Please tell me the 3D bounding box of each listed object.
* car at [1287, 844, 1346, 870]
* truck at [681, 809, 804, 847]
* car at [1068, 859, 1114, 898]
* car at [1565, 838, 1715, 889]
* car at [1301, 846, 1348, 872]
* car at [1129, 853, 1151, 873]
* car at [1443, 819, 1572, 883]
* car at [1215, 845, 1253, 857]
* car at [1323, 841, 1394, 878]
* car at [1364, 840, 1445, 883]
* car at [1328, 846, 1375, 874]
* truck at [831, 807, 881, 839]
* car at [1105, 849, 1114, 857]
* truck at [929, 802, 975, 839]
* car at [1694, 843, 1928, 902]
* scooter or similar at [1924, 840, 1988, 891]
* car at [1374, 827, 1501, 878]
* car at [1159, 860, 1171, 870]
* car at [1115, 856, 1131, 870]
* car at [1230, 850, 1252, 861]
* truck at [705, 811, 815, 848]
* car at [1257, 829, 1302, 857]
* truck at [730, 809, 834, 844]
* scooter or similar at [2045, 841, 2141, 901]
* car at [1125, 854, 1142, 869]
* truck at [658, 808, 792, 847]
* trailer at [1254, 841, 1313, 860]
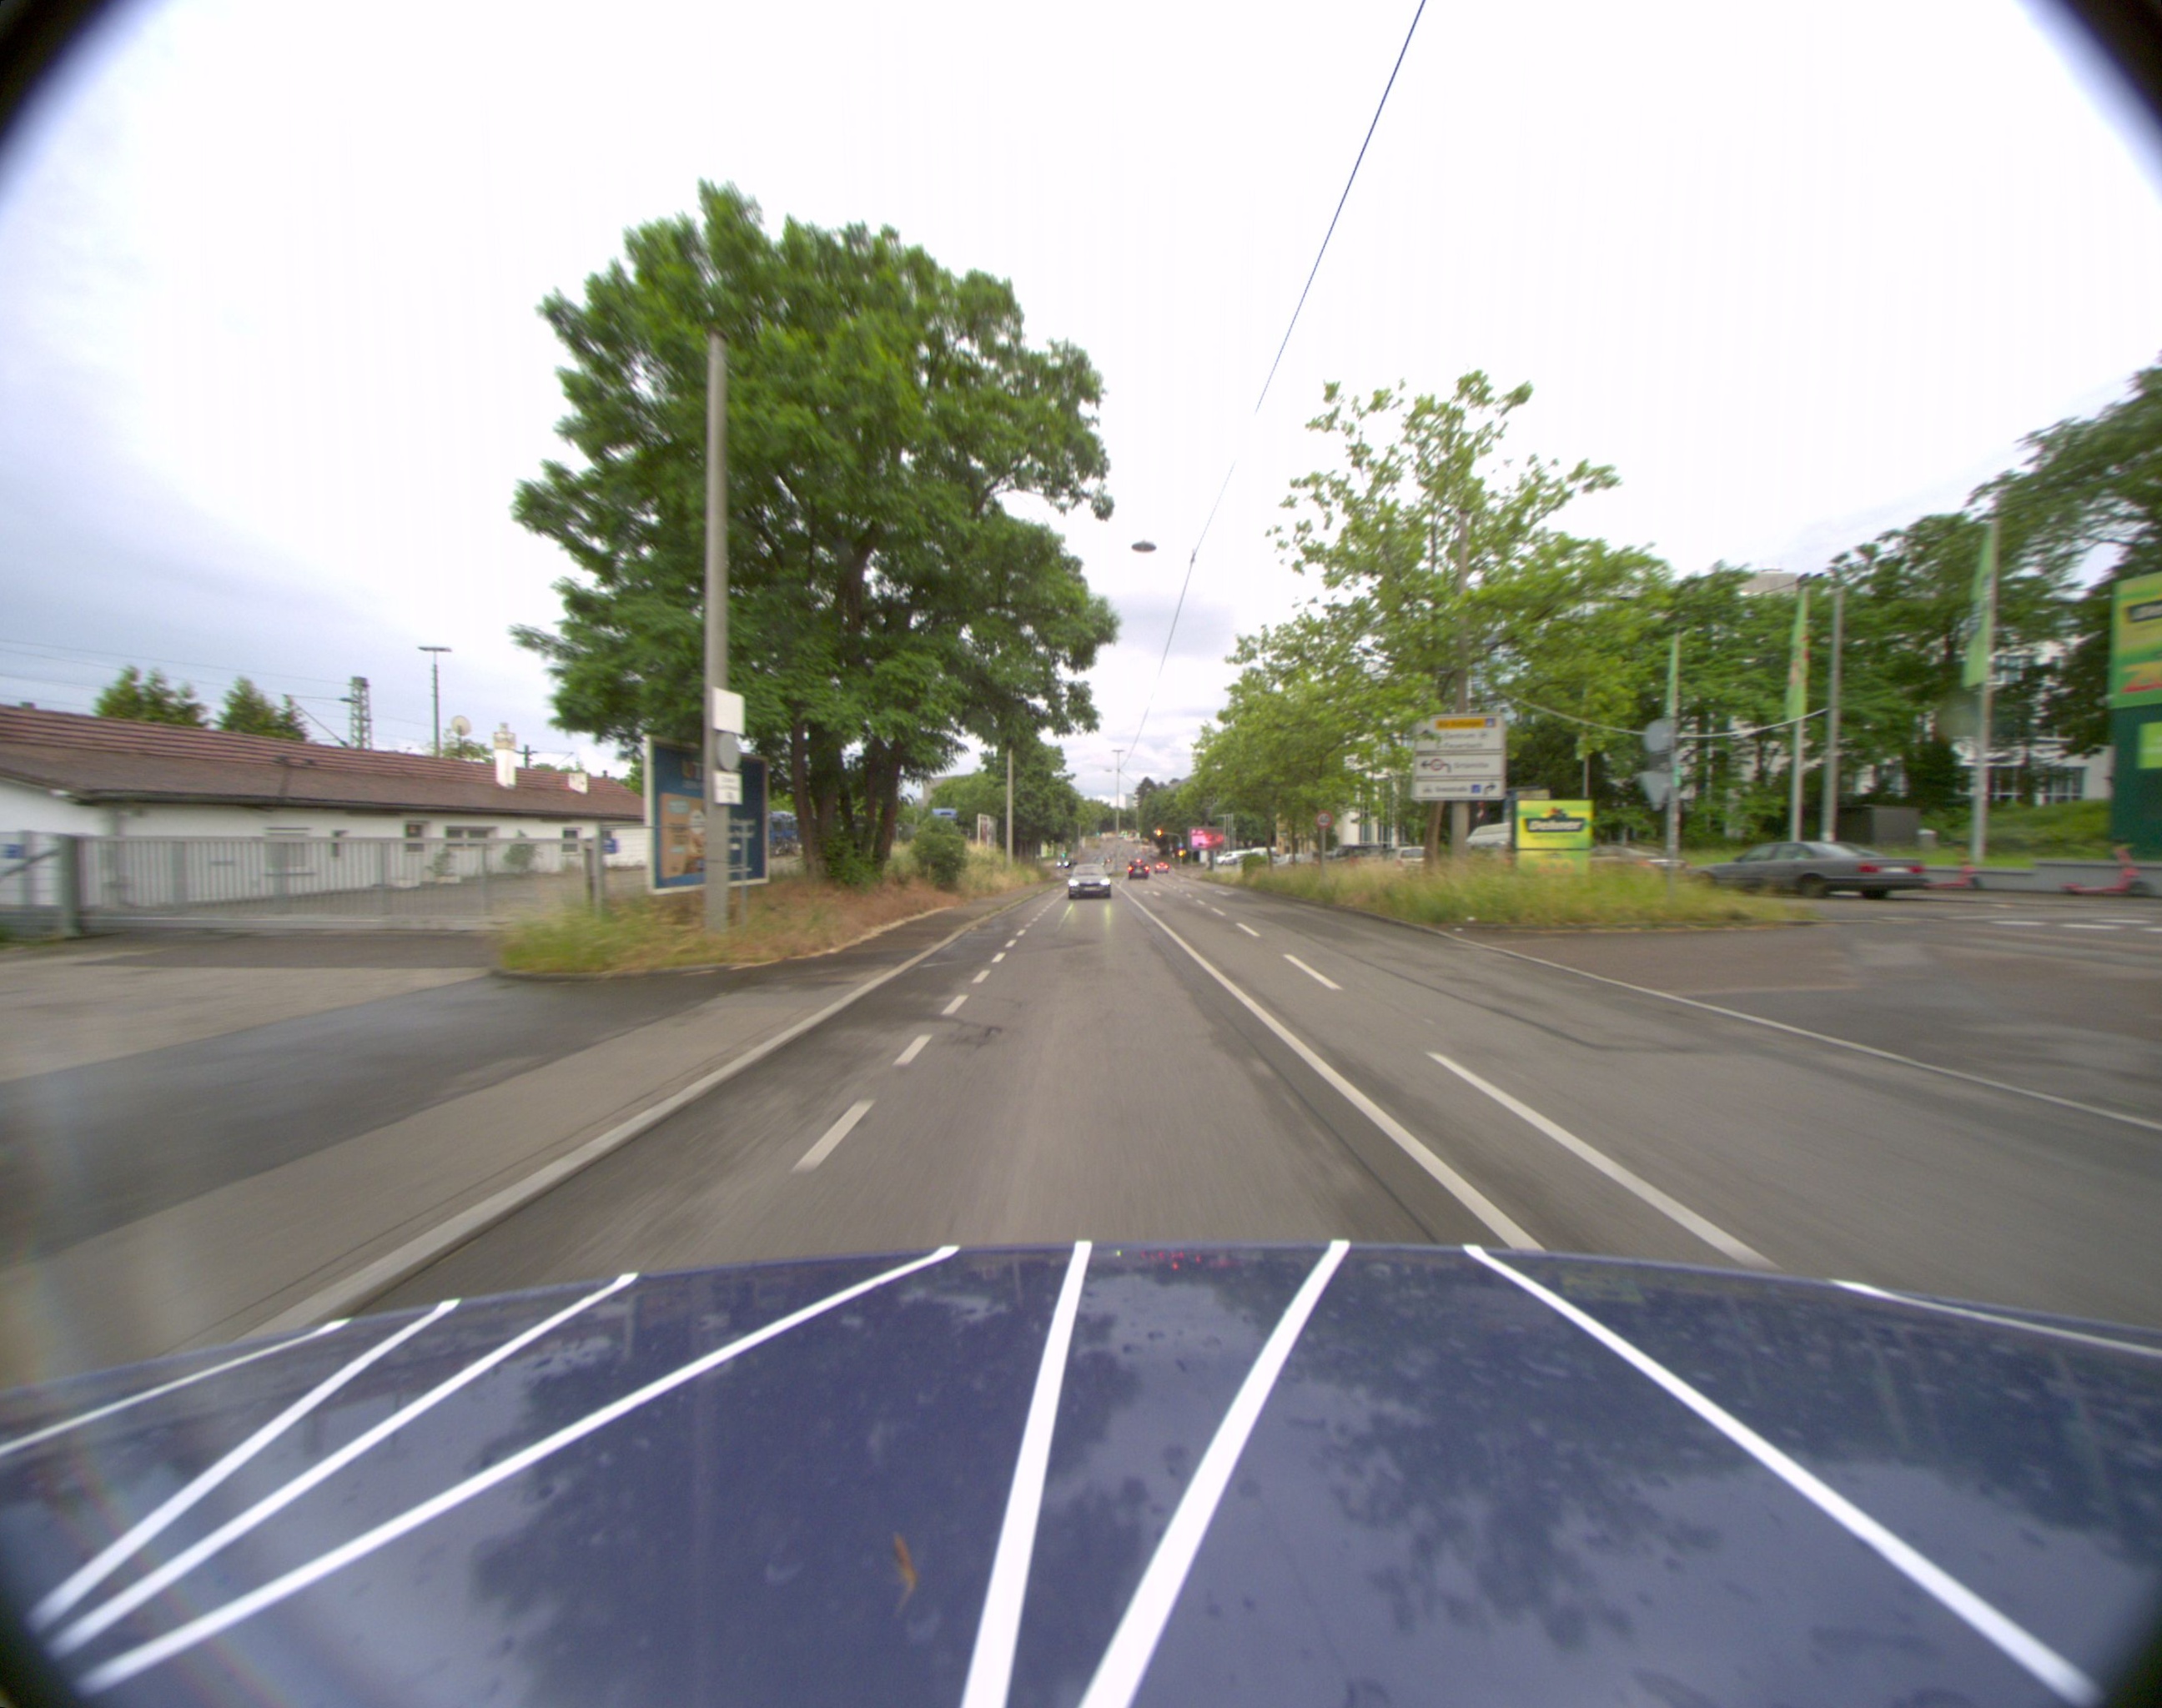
[{"bbox_3d":[11.575,0.160,37.653,1.702,1.198,4.219,0,-1,1],"label":"car"},{"bbox_3d":[-25.392,-1.971,57.244,8.026,2.723,2.586,0,2,-1],"label":"truck"},{"bbox_3d":[0.439,1.029,32.887,1.811,1.509,4.053,-2,-1,1],"label":"car"},{"bbox_3d":[17.536,0.237,24.073,1.848,1.460,3.668,0,2,-4],"label":"car"},{"bbox_3d":[17.044,0.404,53.421,1.775,1.735,4.584,1,-1,0],"label":"car"},{"bbox_3d":[5.787,0.866,75.133,2.019,1.855,5.042,0,0,2],"label":"car"},{"bbox_3d":[17.456,-0.049,31.512,1.968,2.428,5.655,1,-1,-3],"label":"car"},{"bbox_3d":[23.419,-0.408,116.421,5.371,1.791,2.218,0,2,-6],"label":"car"},{"bbox_3d":[11.670,0.181,32.186,1.658,1.444,3.644,0,2,0],"label":"car"},{"bbox_3d":[11.687,0.227,27.671,1.364,1.387,3.706,0,2,0],"label":"car"},{"bbox_3d":[16.996,0.393,47.976,1.596,1.685,3.781,1,-1,0],"label":"car"},{"bbox_3d":[-24.252,-3.339,82.373,2.256,3.178,9.639,-1,2,1],"label":"truck"},{"bbox_3d":[5.859,-0.166,156.343,1.752,1.362,3.755,-3,2,-1],"label":"car"},{"bbox_3d":[-10.350,-2.676,61.660,2.290,2.635,6.051,-5,2,2],"label":"truck"},{"bbox_3d":[17.849,0.404,18.898,1.405,1.310,4.276,0,0,-6],"label":"car"},{"bbox_3d":[21.252,0.262,18.472,0.399,1.150,0.922,-7,3,-9],"label":"scooter or similar"},{"bbox_3d":[9.877,-0.096,21.454,1.541,1.286,4.543,0,2,2],"label":"car"},{"bbox_3d":[11.652,1.516,105.683,1.380,1.216,2.452,0,2,1],"label":"car"},{"bbox_3d":[5.295,1.092,96.108,1.810,1.522,4.441,0,2,2],"label":"car"},{"bbox_3d":[22.371,0.253,106.220,2.684,1.416,1.227,-2,1,2],"label":"car"},{"bbox_3d":[-25.782,-1.985,61.346,7.730,2.840,2.586,0,2,-1],"label":"truck"},{"bbox_3d":[11.755,-0.612,45.208,1.596,1.531,3.992,1,-1,0],"label":"car"},{"bbox_3d":[-25.439,-2.338,64.878,7.757,2.799,2.586,0,2,-1],"label":"truck"},{"bbox_3d":[21.400,0.352,16.091,0.496,1.237,1.130,-1,0,-1],"label":"scooter or similar"},{"bbox_3d":[6.170,0.906,89.574,1.959,1.687,4.626,0,0,3],"label":"car"},{"bbox_3d":[-24.913,-1.834,53.446,8.112,2.640,2.586,0,2,-1],"label":"truck"},{"bbox_3d":[26.475,-0.522,99.433,7.114,2.415,2.394,0,2,1],"label":"trailer"}]
